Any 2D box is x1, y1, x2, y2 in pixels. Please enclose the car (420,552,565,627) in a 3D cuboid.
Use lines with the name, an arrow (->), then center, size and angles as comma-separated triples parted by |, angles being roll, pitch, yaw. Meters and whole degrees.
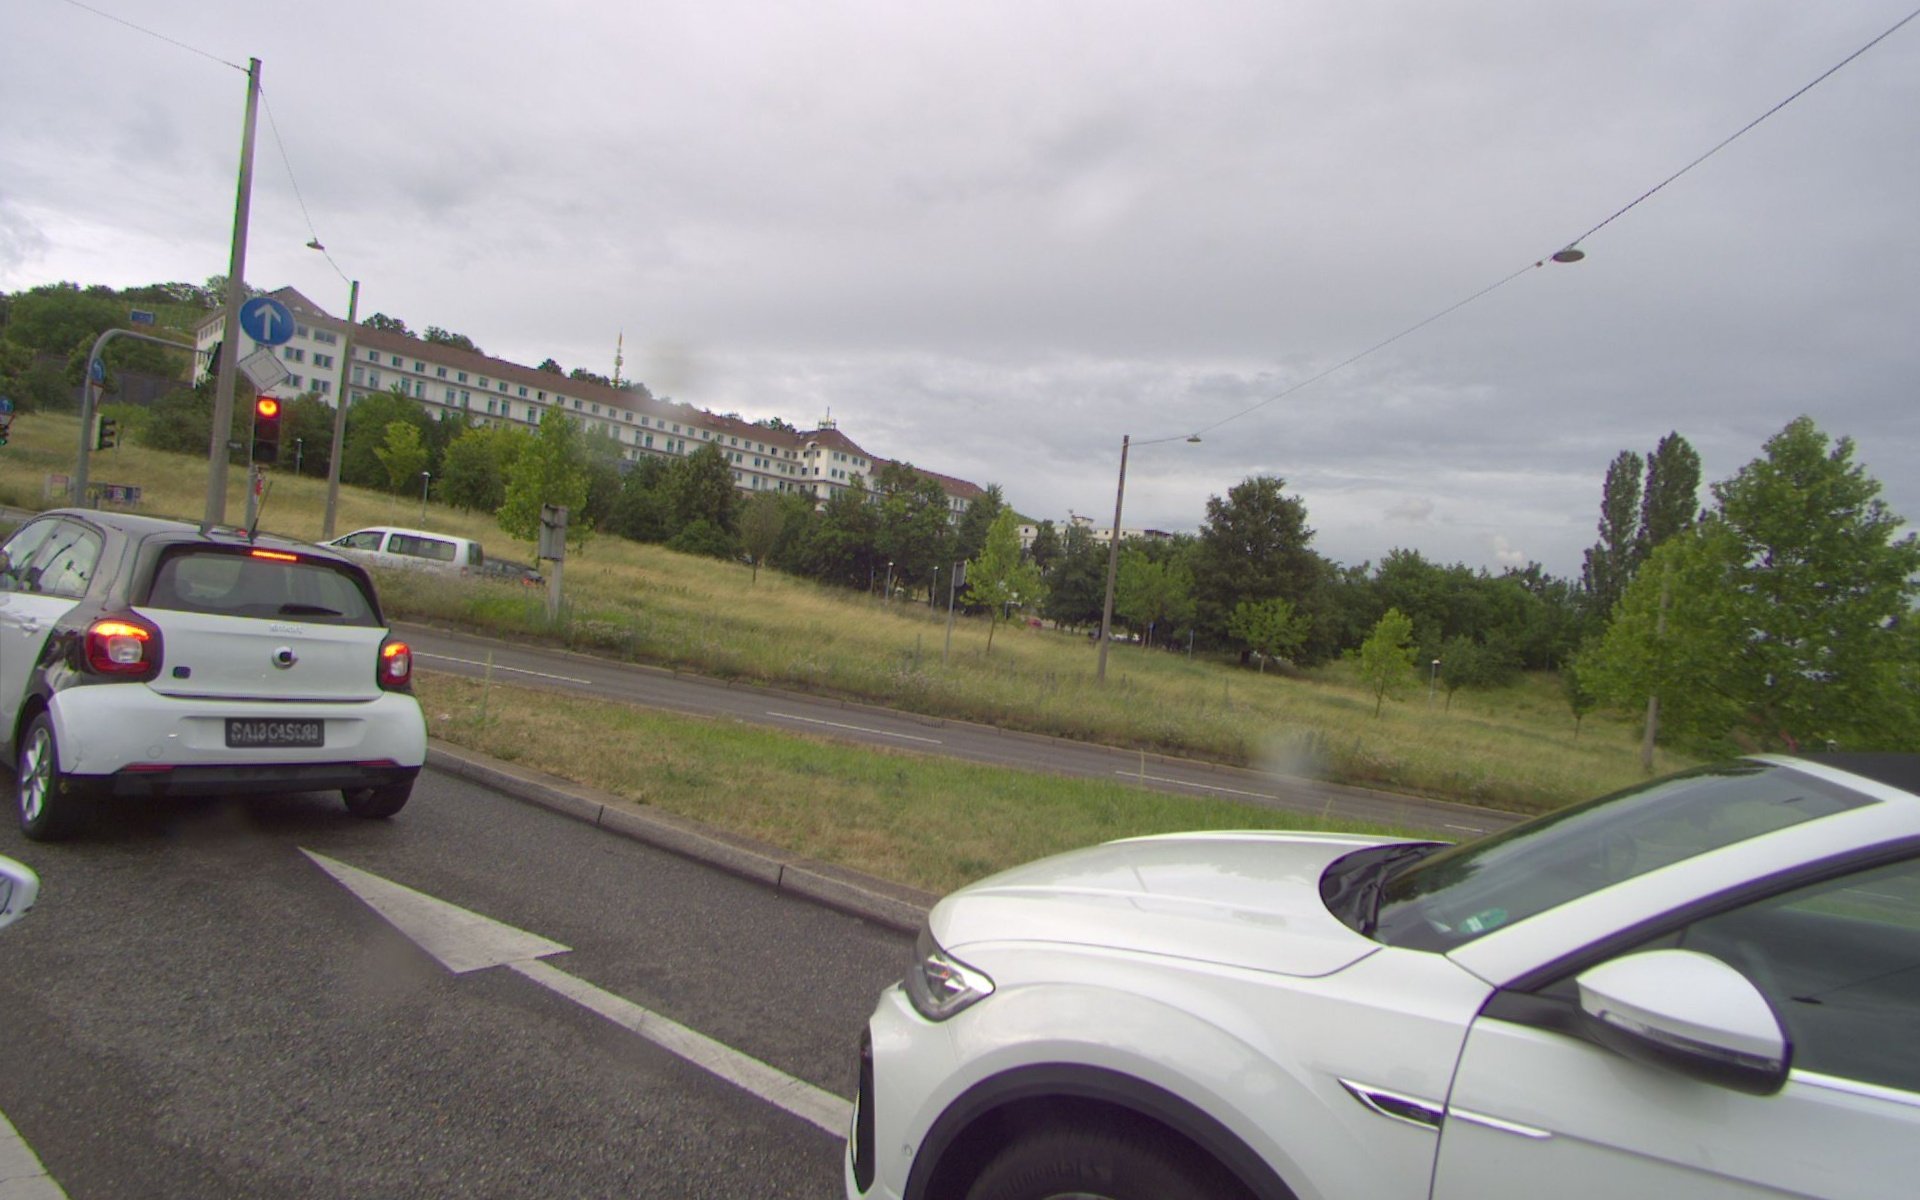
car -> -16.076, -0.316, 34.760 | 3.932, 2.037, 1.998 | 7, -2, -9

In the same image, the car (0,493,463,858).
car -> -4.689, 0.280, 5.896 | 3.397, 1.520, 1.659 | 6, -2, 36

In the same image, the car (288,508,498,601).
car -> -15.732, -1.211, 28.165 | 4.623, 1.871, 1.818 | 8, -2, -13

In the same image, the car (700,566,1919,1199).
car -> 1.750, 0.982, 1.789 | 4.156, 1.571, 1.718 | 6, -2, 28
